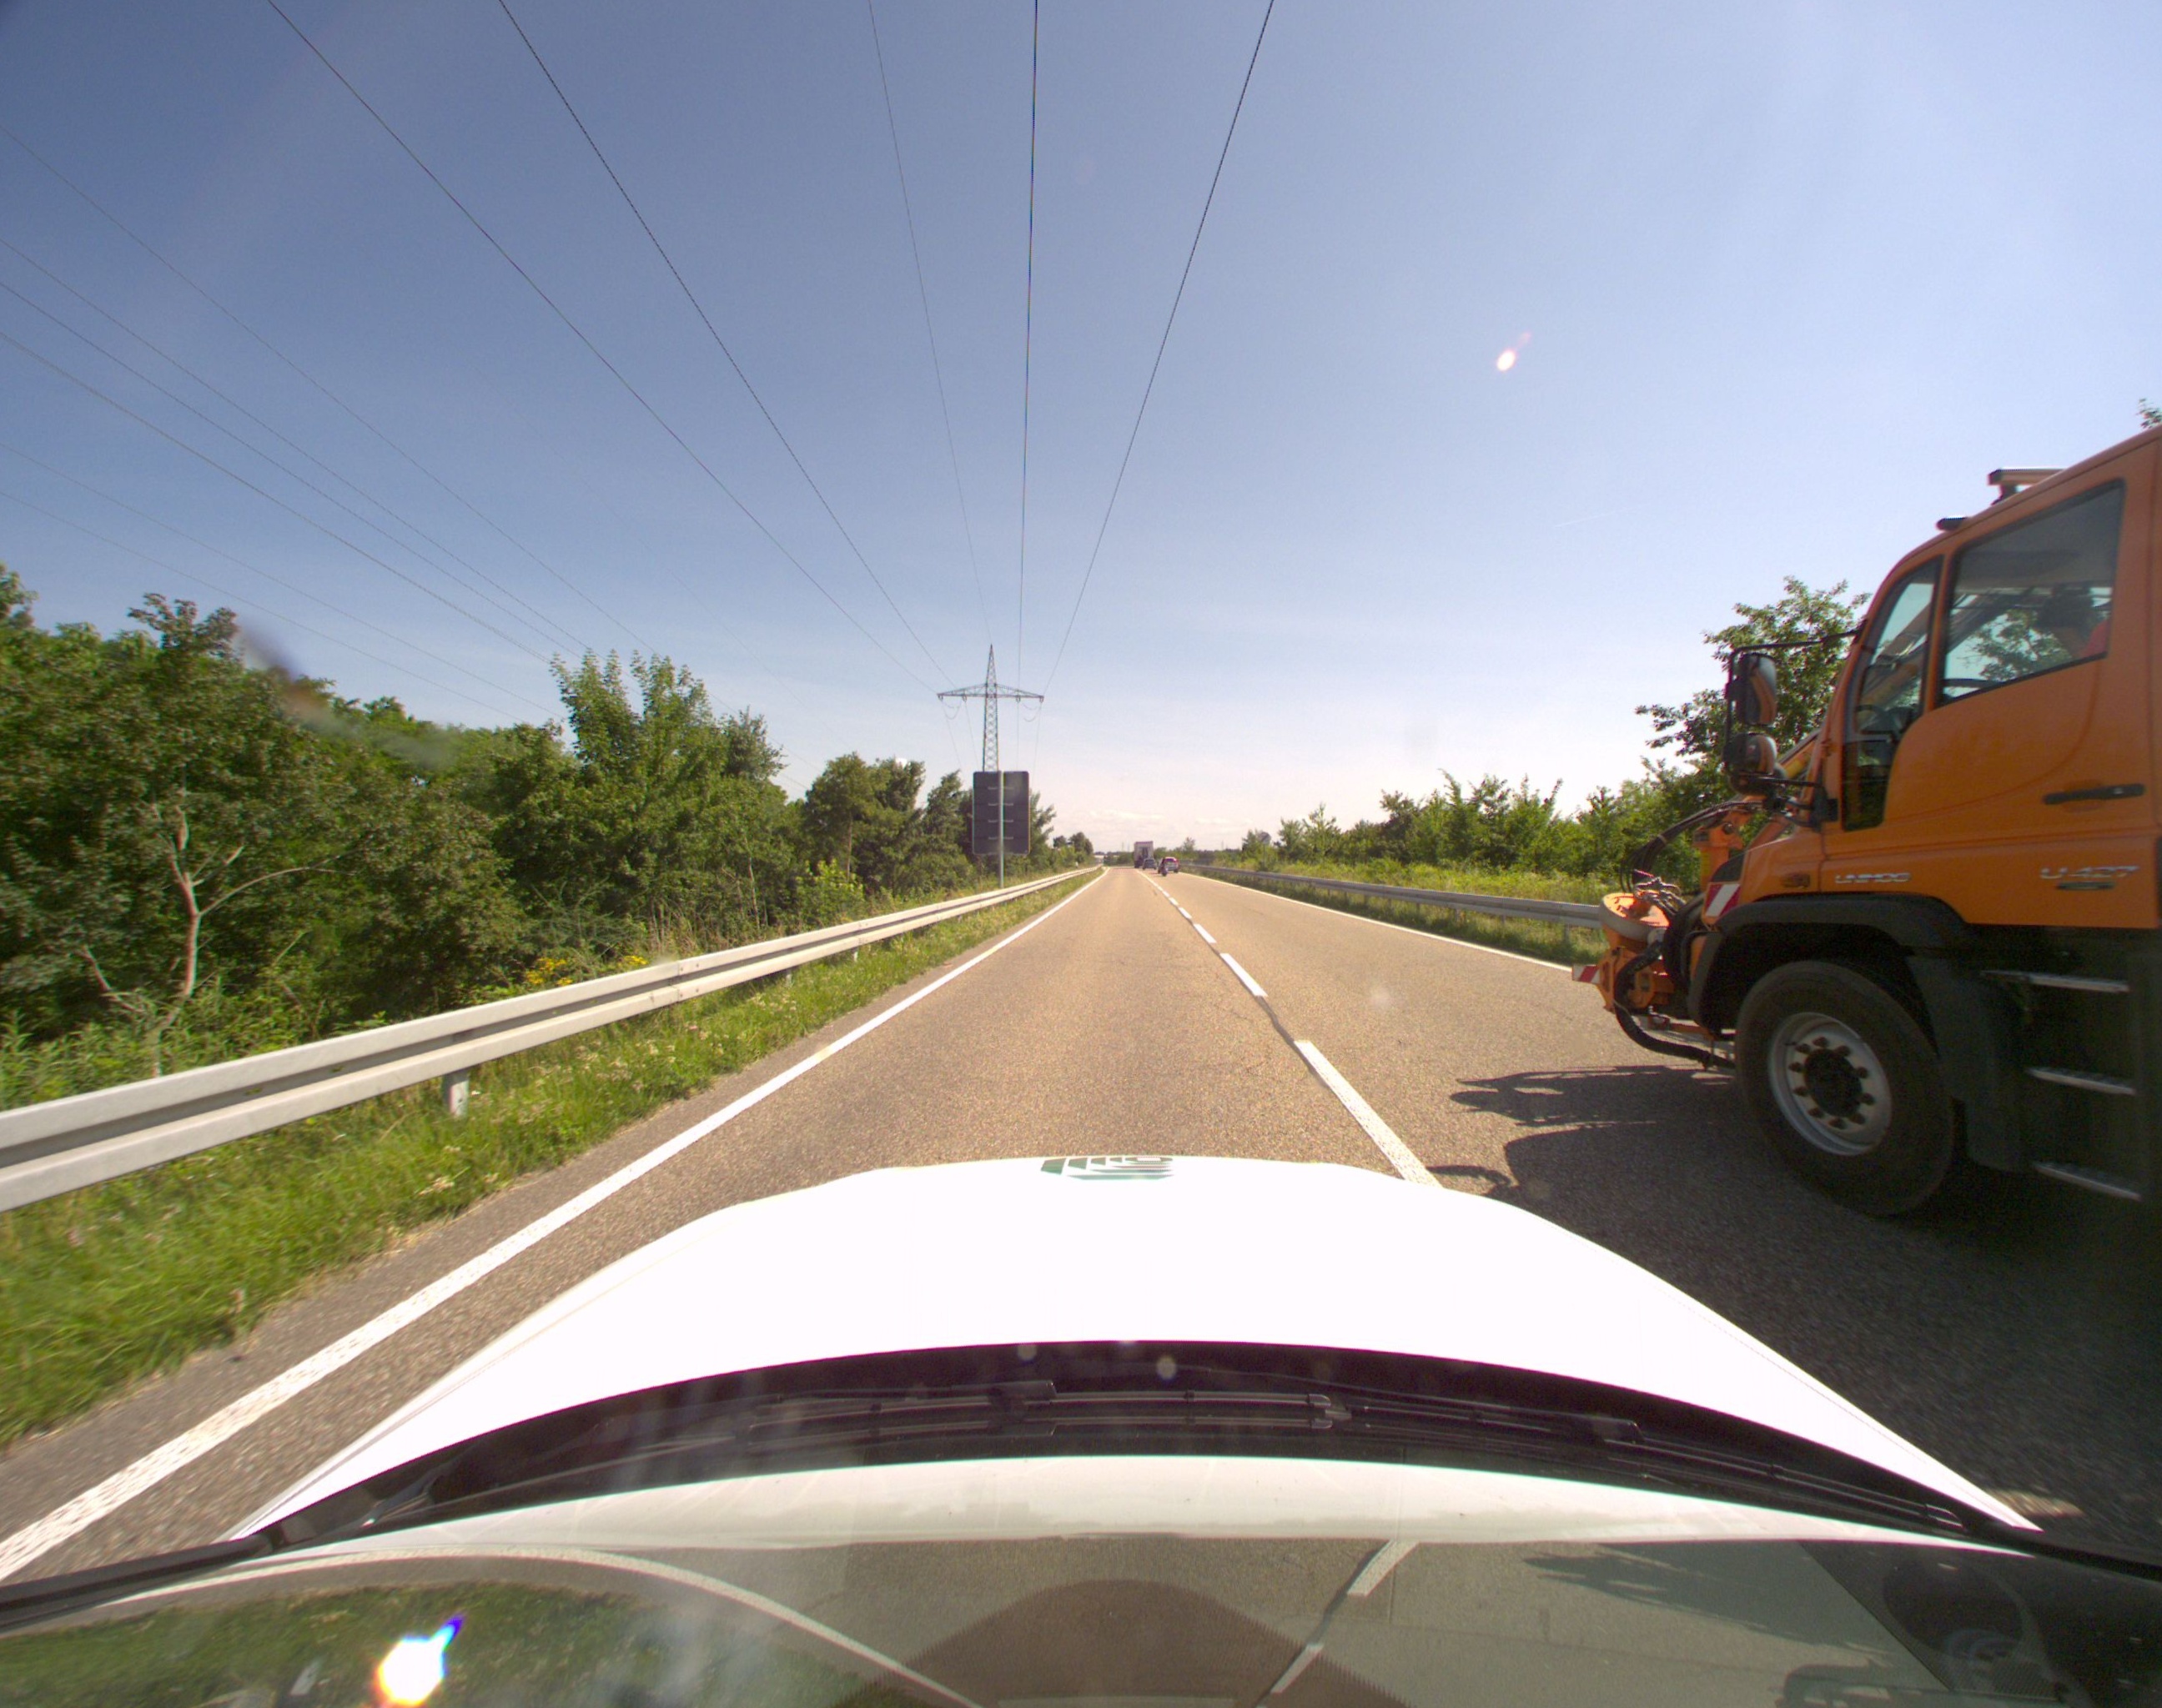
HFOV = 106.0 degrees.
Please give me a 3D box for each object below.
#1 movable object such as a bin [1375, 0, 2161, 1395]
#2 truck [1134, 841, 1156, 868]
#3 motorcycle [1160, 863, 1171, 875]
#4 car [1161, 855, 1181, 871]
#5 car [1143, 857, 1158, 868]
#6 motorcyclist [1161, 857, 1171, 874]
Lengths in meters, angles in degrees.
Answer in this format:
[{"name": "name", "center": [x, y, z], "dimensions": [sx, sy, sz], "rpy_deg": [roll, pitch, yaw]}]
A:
[{"name": "movable object such as a bin", "center": [4.355, -0.491, 4.113], "dimensions": [2.742, 3.839, 9.452], "rpy_deg": [-1, 0, 3]}, {"name": "truck", "center": [10.039, 0.114, 127.344], "dimensions": [3.227, 3.979, 9.453], "rpy_deg": [-1, -1, 4]}, {"name": "motorcycle", "center": [6.978, 1.229, 67.240], "dimensions": [0.777, 0.975, 2.364], "rpy_deg": [-1, 0, 4]}, {"name": "car", "center": [8.816, 0.892, 80.096], "dimensions": [1.817, 1.451, 4.004], "rpy_deg": [-1, 0, 4]}, {"name": "car", "center": [8.882, 1.087, 104.142], "dimensions": [1.858, 1.420, 4.004], "rpy_deg": [-1, 0, 3]}, {"name": "motorcyclist", "center": [6.985, 0.960, 67.261], "dimensions": [0.777, 1.325, 0.814], "rpy_deg": [-1, 0, 4]}]
